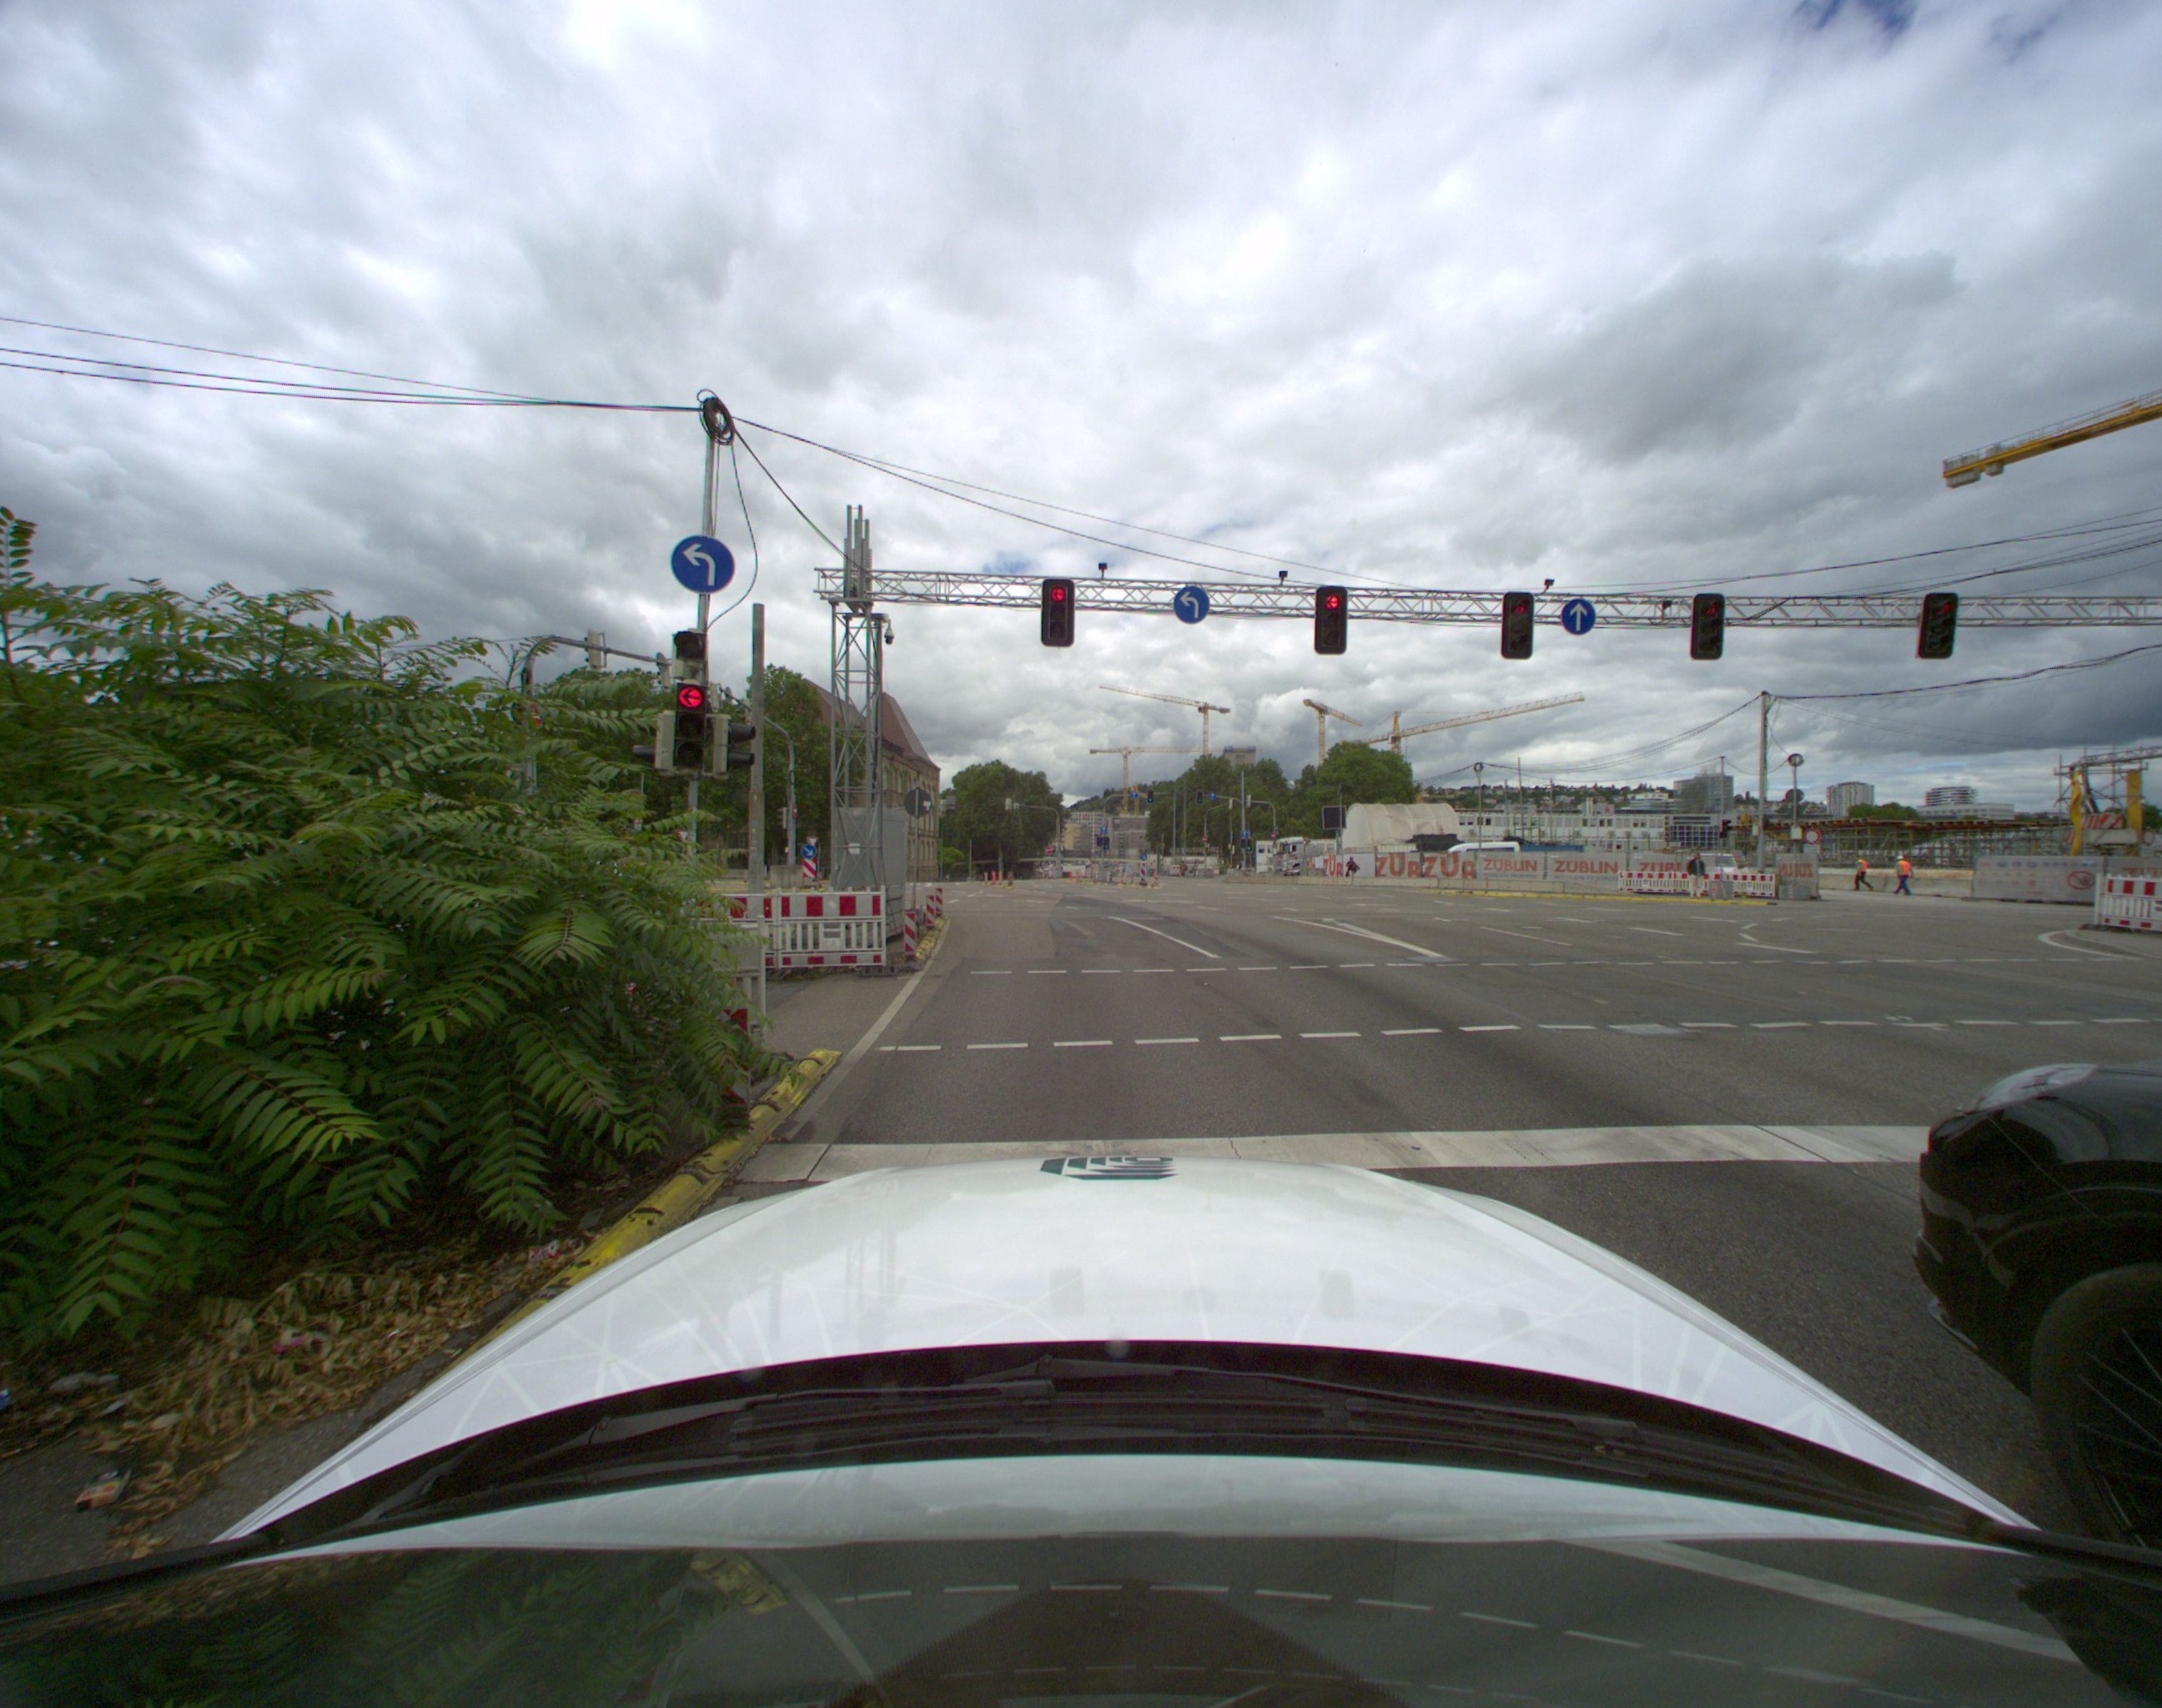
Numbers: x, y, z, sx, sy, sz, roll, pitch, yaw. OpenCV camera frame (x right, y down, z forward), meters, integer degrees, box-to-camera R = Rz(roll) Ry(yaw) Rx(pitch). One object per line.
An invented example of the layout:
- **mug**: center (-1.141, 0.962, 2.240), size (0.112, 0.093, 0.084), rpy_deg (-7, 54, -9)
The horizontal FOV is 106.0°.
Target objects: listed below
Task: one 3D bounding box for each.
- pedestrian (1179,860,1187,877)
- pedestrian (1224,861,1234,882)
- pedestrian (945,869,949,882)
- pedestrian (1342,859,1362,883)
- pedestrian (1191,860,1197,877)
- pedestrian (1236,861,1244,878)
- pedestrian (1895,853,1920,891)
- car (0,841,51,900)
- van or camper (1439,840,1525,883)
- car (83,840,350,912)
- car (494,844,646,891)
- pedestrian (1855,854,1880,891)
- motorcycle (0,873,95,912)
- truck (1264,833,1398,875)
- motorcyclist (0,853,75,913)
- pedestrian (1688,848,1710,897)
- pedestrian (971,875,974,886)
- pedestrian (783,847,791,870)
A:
- **pedestrian**: center (10.076, 1.436, 80.813), size (0.726, 1.689, 0.678), rpy_deg (0, 0, 1)
- **pedestrian**: center (12.246, 1.443, 67.438), size (0.726, 1.689, 0.678), rpy_deg (0, 0, 1)
- **pedestrian**: center (-21.554, 3.417, 130.614), size (0.522, 2.014, 0.567), rpy_deg (0, 0, 2)
- **pedestrian**: center (16.382, 1.026, 49.218), size (0.799, 1.378, 0.899), rpy_deg (0, 0, -18)
- **pedestrian**: center (11.231, 1.464, 81.181), size (0.564, 1.689, 0.472), rpy_deg (0, 0, 1)
- **pedestrian**: center (15.956, 1.580, 81.852), size (0.615, 1.689, 0.716), rpy_deg (0, 0, 31)
- **pedestrian**: center (37.864, 0.835, 37.309), size (0.651, 1.717, 0.516), rpy_deg (0, 0, -9)
- **car**: center (-32.951, 0.451, 23.250), size (4.302, 1.676, 1.998), rpy_deg (0, 0, -3)
- **van or camper**: center (23.146, 0.420, 47.193), size (4.181, 2.357, 2.009), rpy_deg (0, 0, 16)
- **car**: center (-21.297, 0.517, 20.237), size (4.302, 1.676, 1.998), rpy_deg (0, 0, -3)
- **car**: center (-18.822, 0.493, 30.233), size (4.315, 1.676, 1.992), rpy_deg (0, 0, -12)
- **pedestrian**: center (38.647, 0.908, 40.037), size (0.651, 1.795, 0.617), rpy_deg (0, 0, -7)
- **motorcycle**: center (-25.513, 0.929, 19.791), size (2.051, 0.924, 0.756), rpy_deg (0, 0, -4)
- **truck**: center (25.026, -0.028, 81.580), size (13.062, 4.041, 3.926), rpy_deg (0, 0, -18)
- **motorcyclist**: center (-25.429, 0.689, 19.793), size (0.963, 1.423, 0.745), rpy_deg (0, 0, -4)
- **pedestrian**: center (25.618, 0.748, 33.772), size (0.645, 2.013, 0.520), rpy_deg (0, 0, 27)
- **pedestrian**: center (-21.004, 5.161, 157.894), size (0.522, 2.014, 0.567), rpy_deg (0, 0, 2)
- **pedestrian**: center (-26.793, 0.413, 74.165), size (0.530, 2.014, 0.423), rpy_deg (1, -1, -42)
